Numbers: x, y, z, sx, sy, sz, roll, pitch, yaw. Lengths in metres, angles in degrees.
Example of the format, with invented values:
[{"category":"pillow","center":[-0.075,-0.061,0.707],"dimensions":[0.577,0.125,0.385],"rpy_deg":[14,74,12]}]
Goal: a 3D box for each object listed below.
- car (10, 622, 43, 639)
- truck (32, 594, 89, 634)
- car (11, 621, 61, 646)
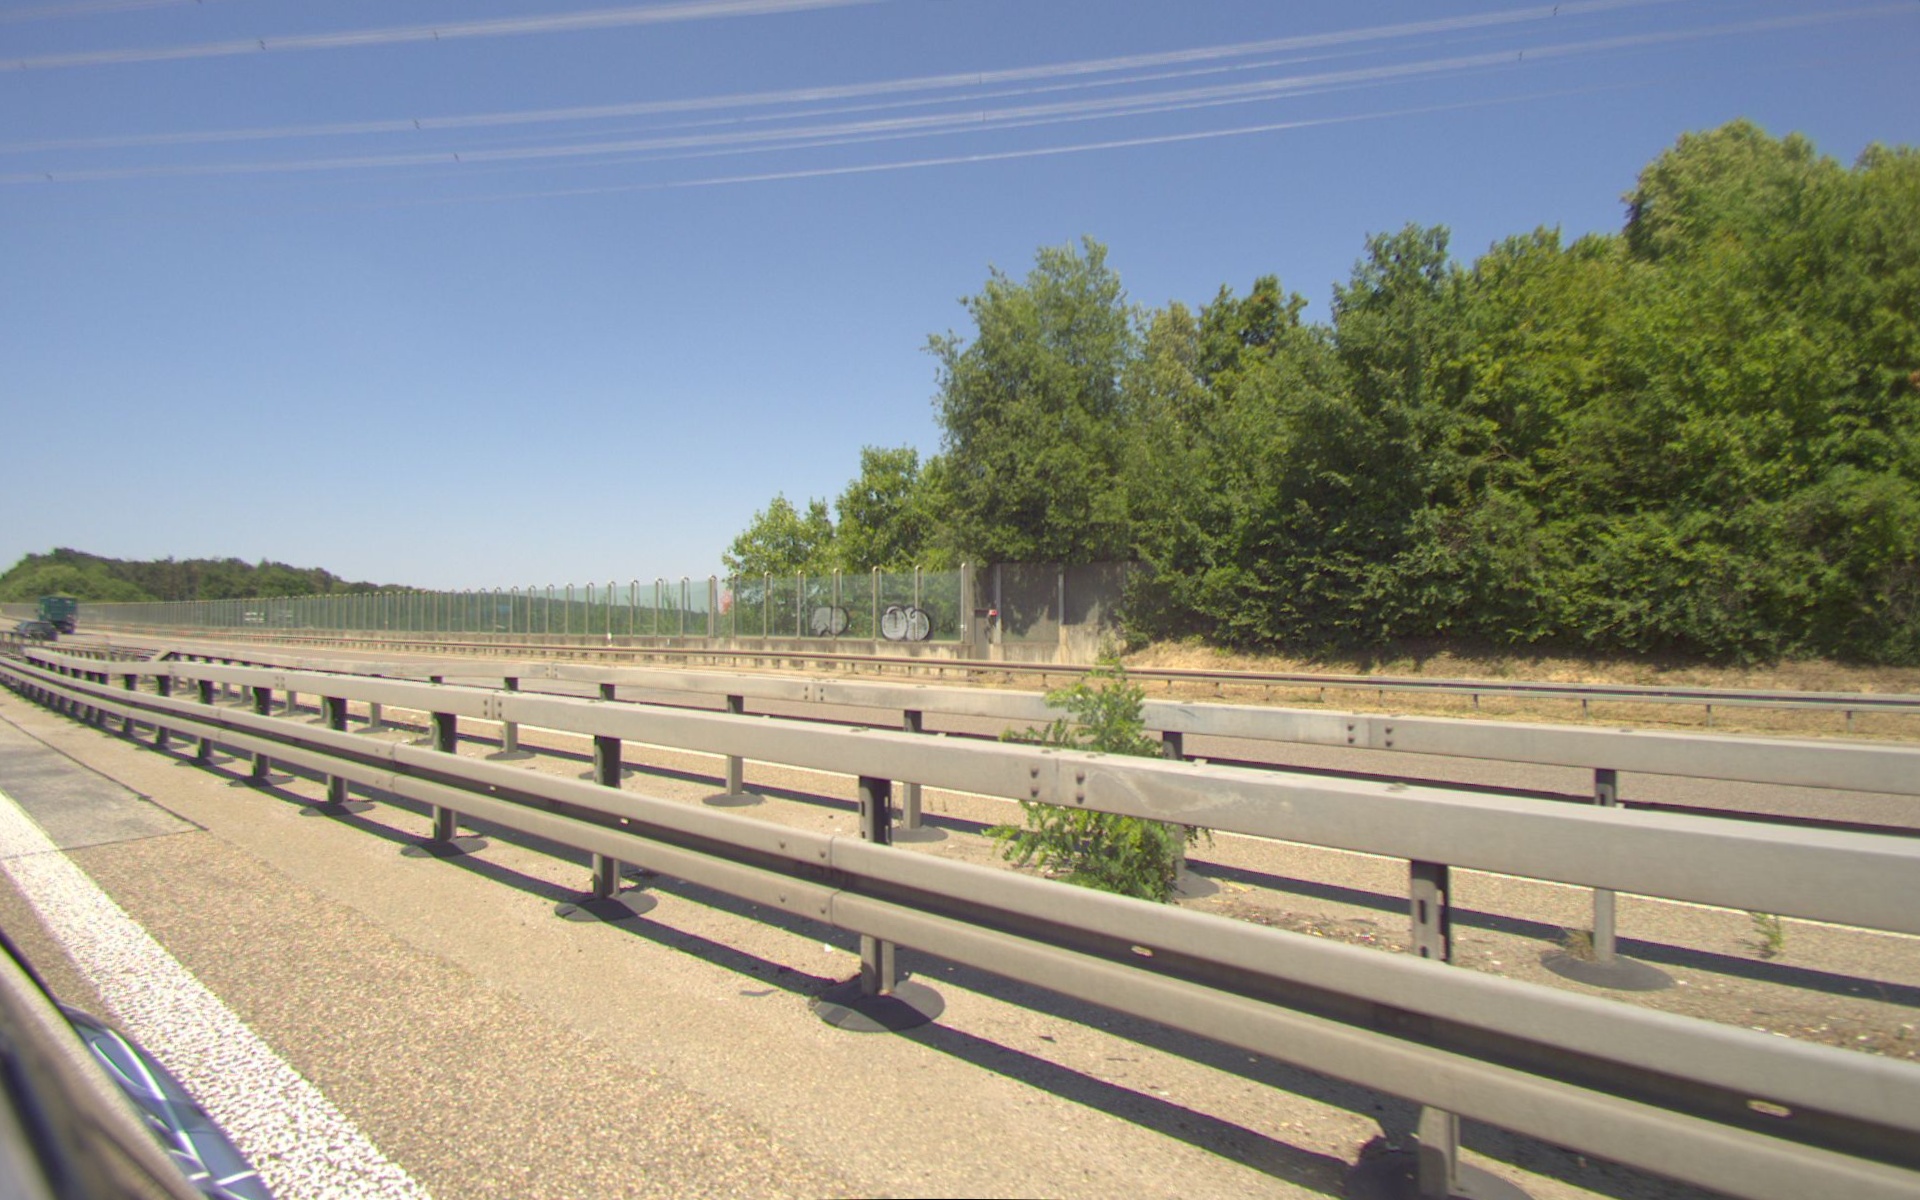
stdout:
[{"category":"car","center":[-88.909,2.909,96.379],"dimensions":[4.043,1.617,1.764],"rpy_deg":[-2,-3,40]},{"category":"truck","center":[-100.406,1.644,112.861],"dimensions":[11.086,4.169,3.272],"rpy_deg":[-1,-4,41]},{"category":"car","center":[-57.442,2.074,62.886],"dimensions":[4.486,1.485,1.763],"rpy_deg":[-1,-2,41]}]
